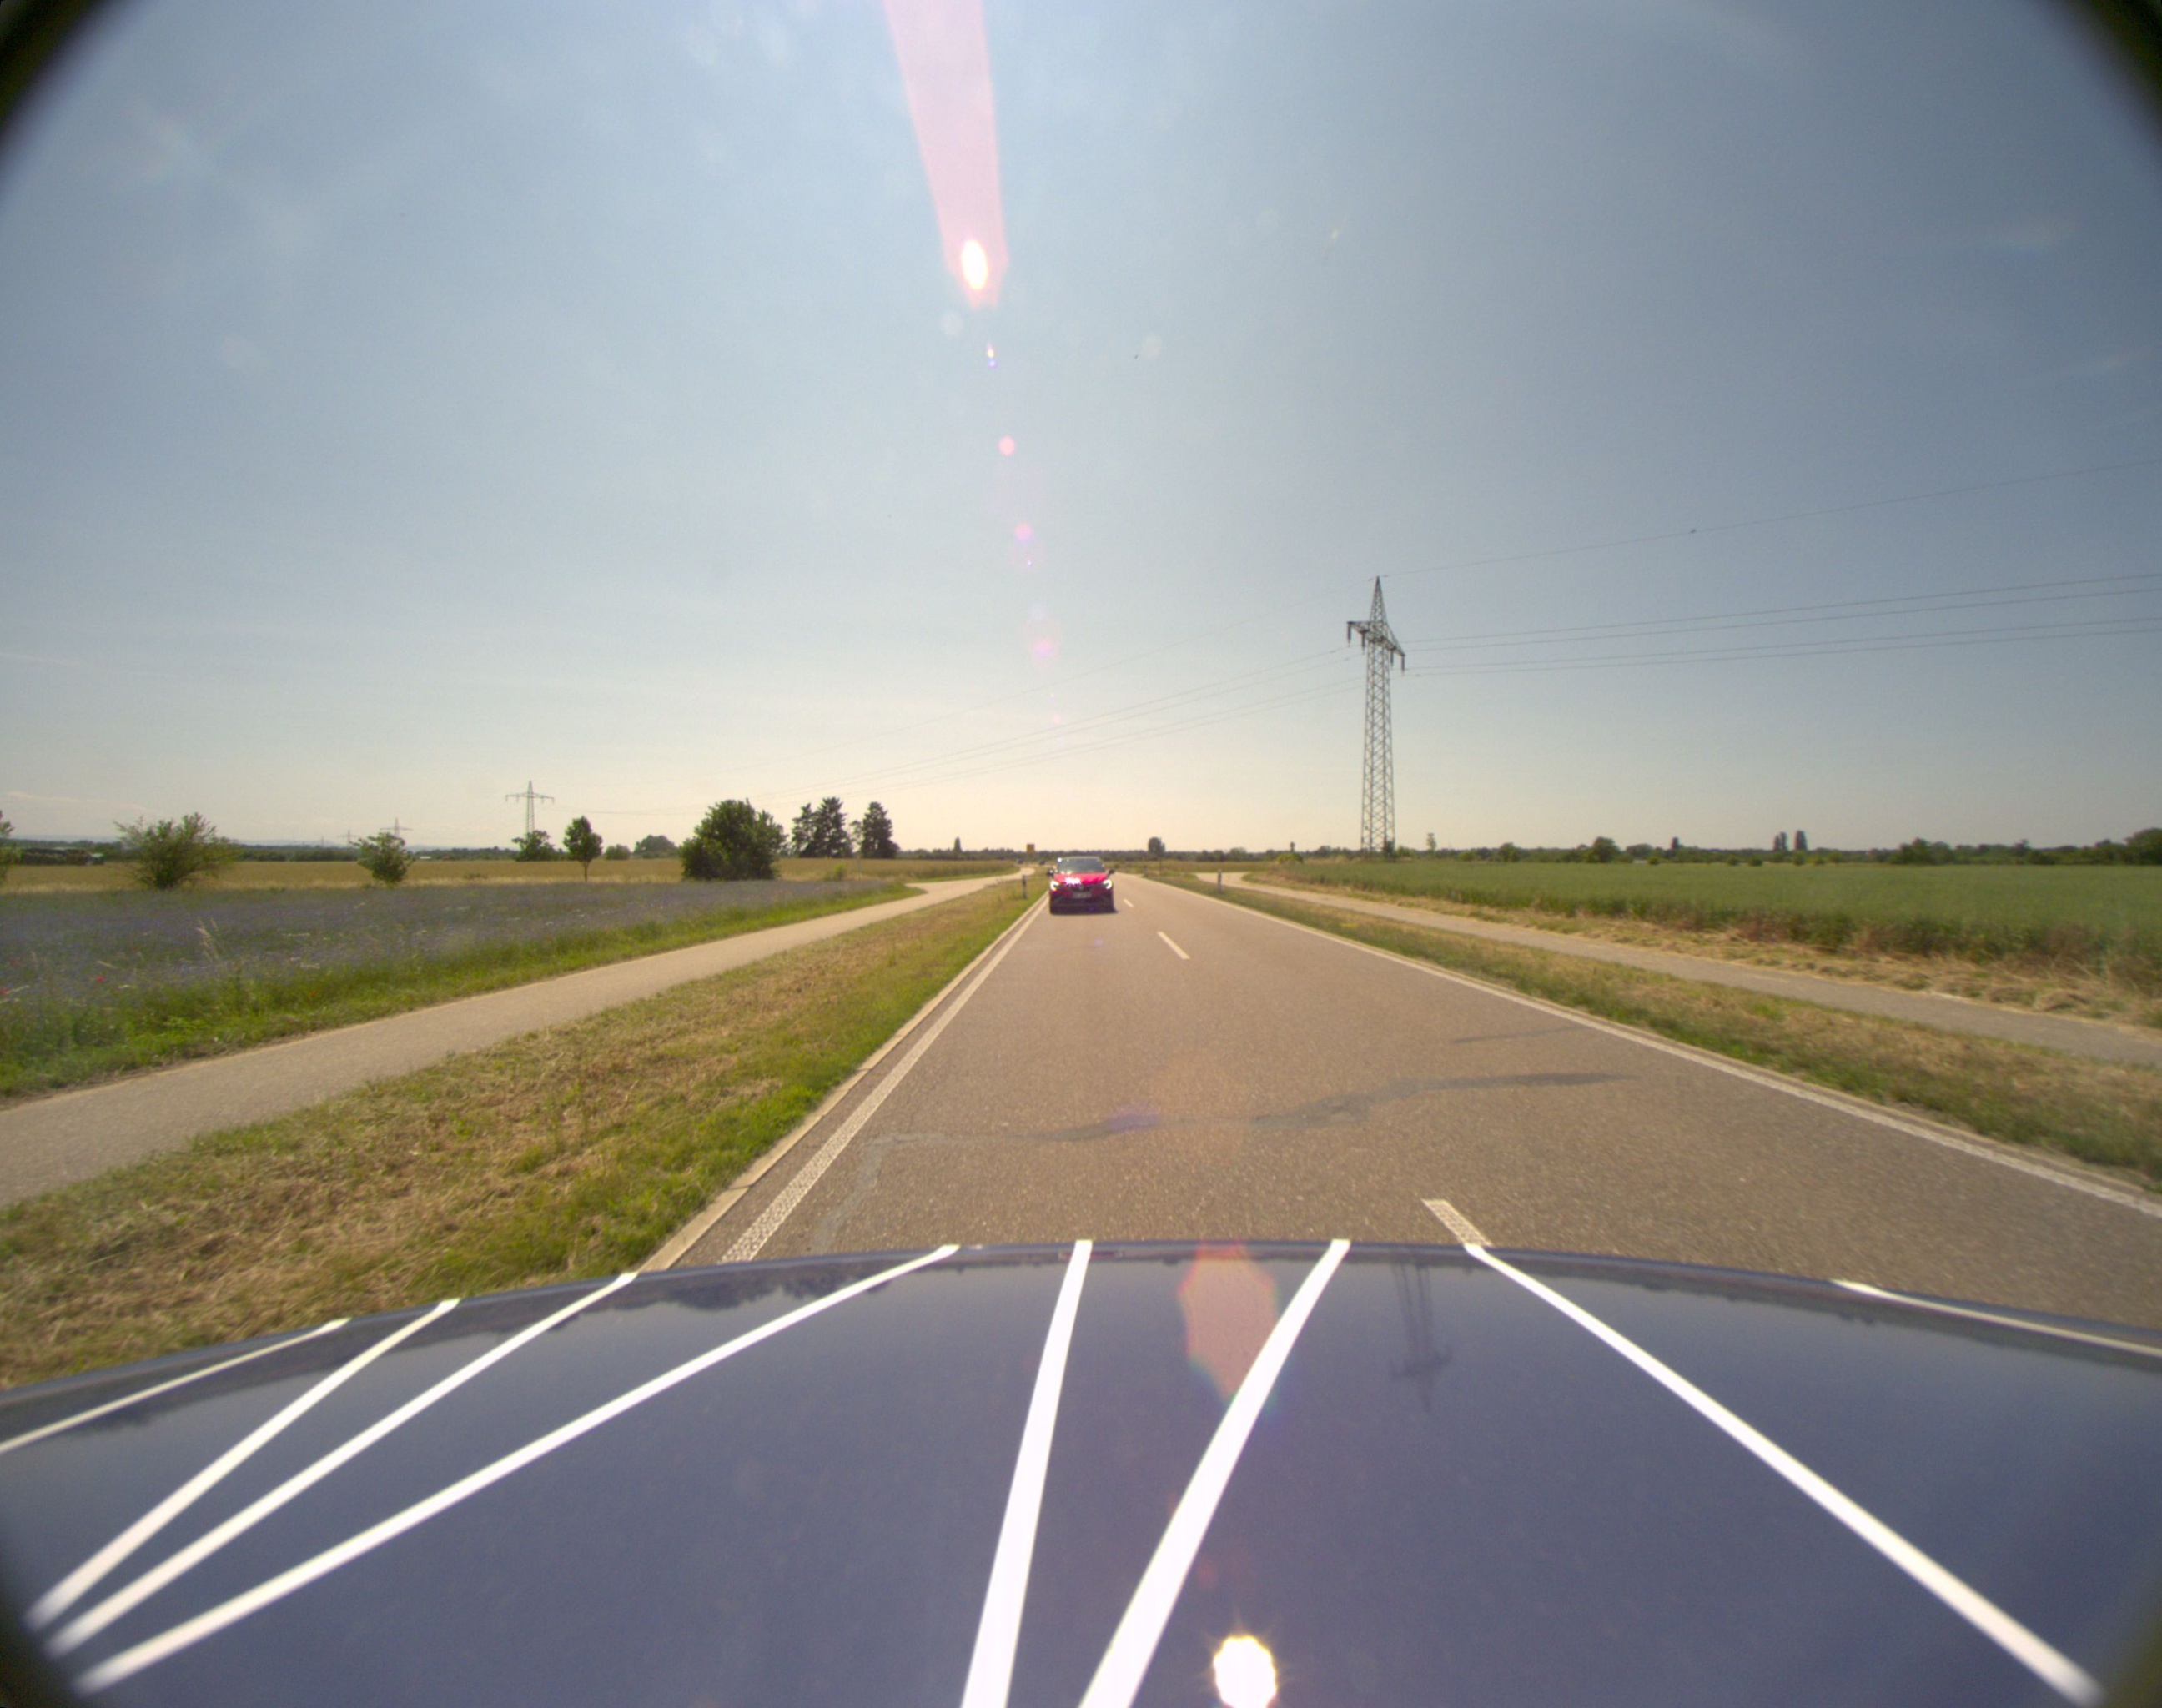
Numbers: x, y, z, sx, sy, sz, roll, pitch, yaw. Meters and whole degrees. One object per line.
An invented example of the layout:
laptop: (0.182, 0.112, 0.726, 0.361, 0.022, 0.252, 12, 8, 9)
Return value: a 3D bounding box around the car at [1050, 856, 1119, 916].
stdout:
car: (0.024, 0.872, 22.821, 1.827, 1.543, 4.448, -1, 0, -2)
